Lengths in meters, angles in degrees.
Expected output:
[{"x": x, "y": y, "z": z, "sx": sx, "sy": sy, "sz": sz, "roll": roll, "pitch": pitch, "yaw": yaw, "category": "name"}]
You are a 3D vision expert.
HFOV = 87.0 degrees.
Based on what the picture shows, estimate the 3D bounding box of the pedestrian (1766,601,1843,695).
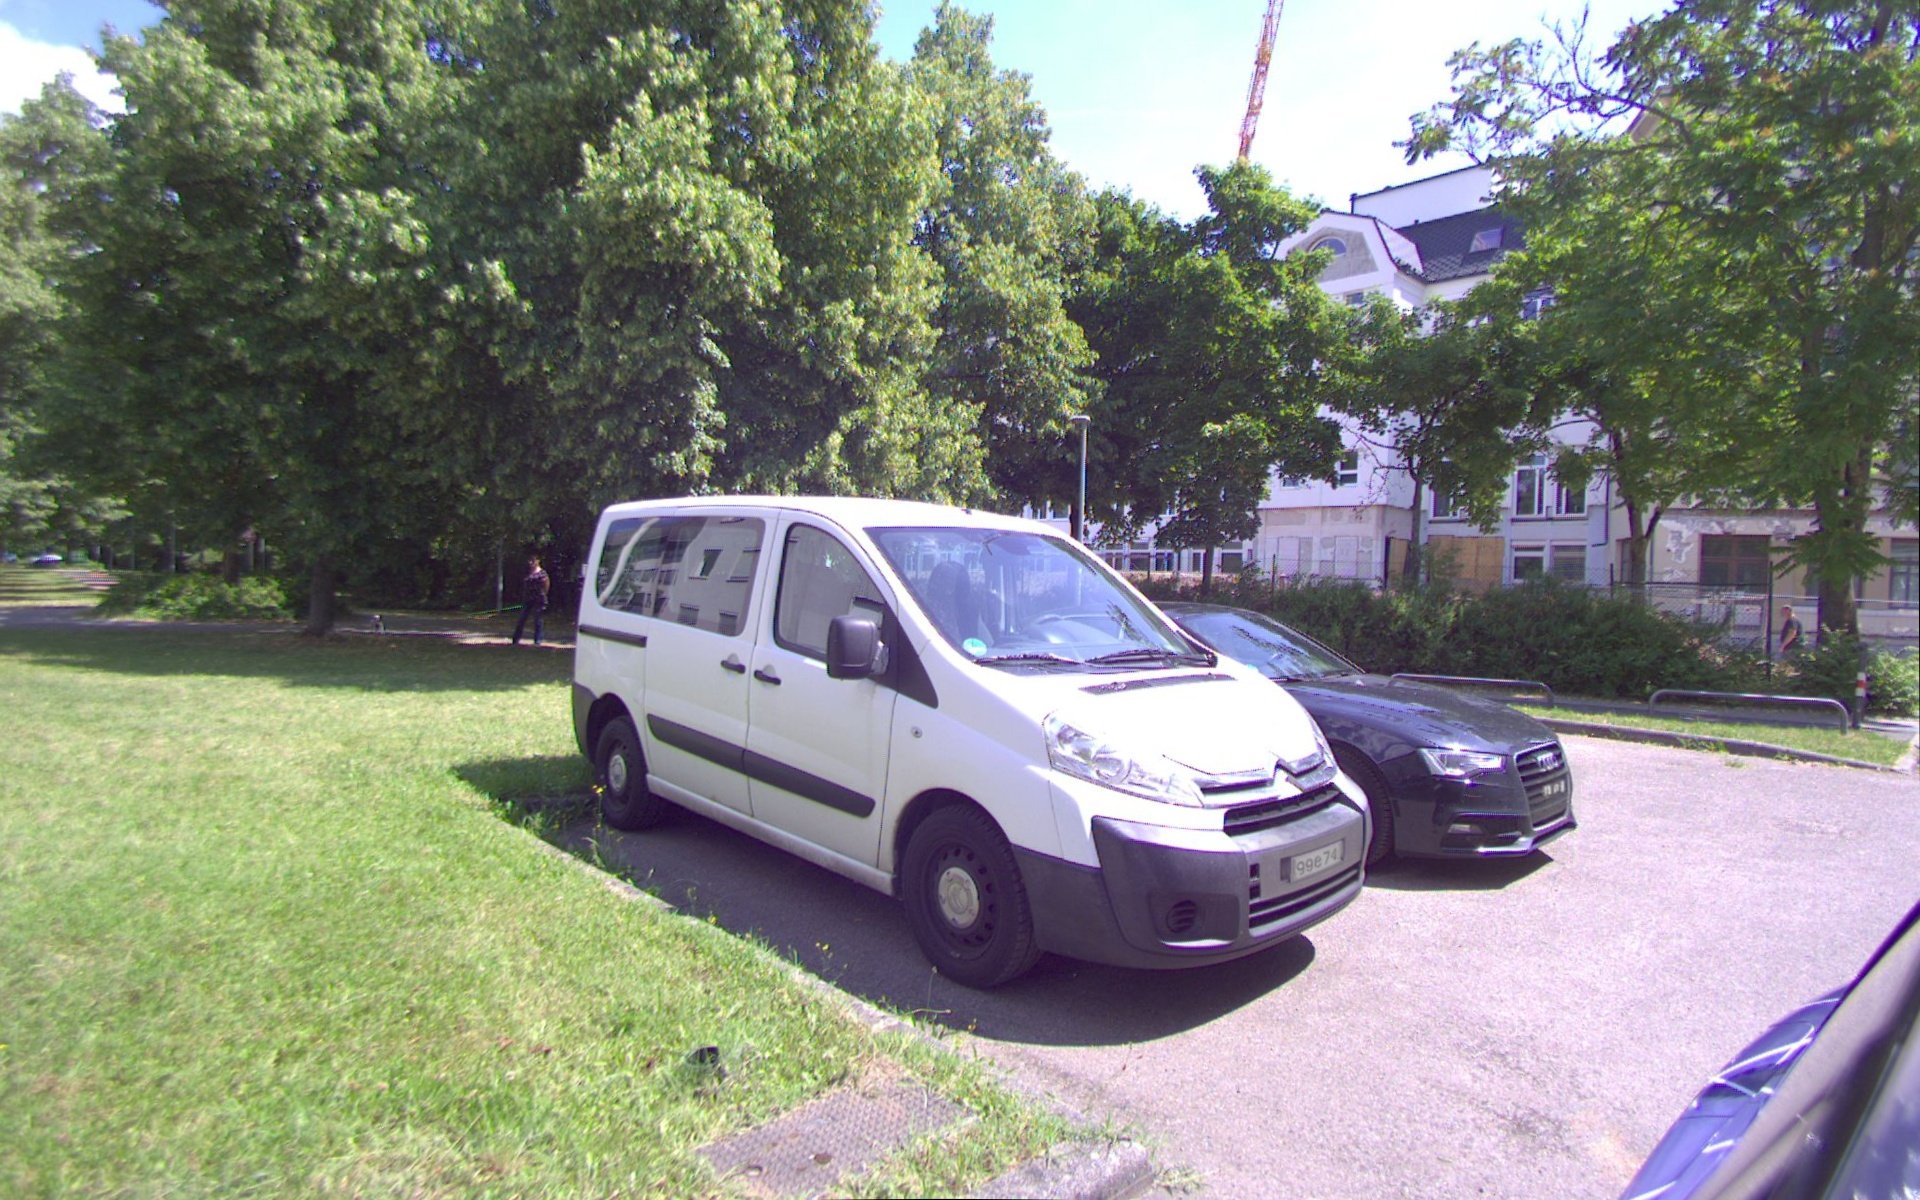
[{"x": 17.497, "y": 0.963, "z": 20.989, "sx": 0.957, "sy": 1.842, "sz": 0.863, "roll": 3, "pitch": 1, "yaw": 24, "category": "pedestrian"}]

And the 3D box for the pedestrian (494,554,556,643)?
[{"x": -8.005, "y": -0.027, "z": 18.643, "sx": 0.745, "sy": 1.584, "sz": 0.731, "roll": 3, "pitch": 0, "yaw": 36, "category": "pedestrian"}]

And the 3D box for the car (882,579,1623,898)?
[{"x": 1.636, "y": 0.623, "z": 6.984, "sx": 1.803, "sy": 1.369, "sz": 4.617, "roll": 2, "pitch": 1, "yaw": -43, "category": "car"}]

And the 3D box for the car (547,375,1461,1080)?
[{"x": -0.242, "y": 0.288, "z": 5.341, "sx": 1.967, "sy": 2.038, "sz": 4.765, "roll": 1, "pitch": 2, "yaw": -43, "category": "car"}]
